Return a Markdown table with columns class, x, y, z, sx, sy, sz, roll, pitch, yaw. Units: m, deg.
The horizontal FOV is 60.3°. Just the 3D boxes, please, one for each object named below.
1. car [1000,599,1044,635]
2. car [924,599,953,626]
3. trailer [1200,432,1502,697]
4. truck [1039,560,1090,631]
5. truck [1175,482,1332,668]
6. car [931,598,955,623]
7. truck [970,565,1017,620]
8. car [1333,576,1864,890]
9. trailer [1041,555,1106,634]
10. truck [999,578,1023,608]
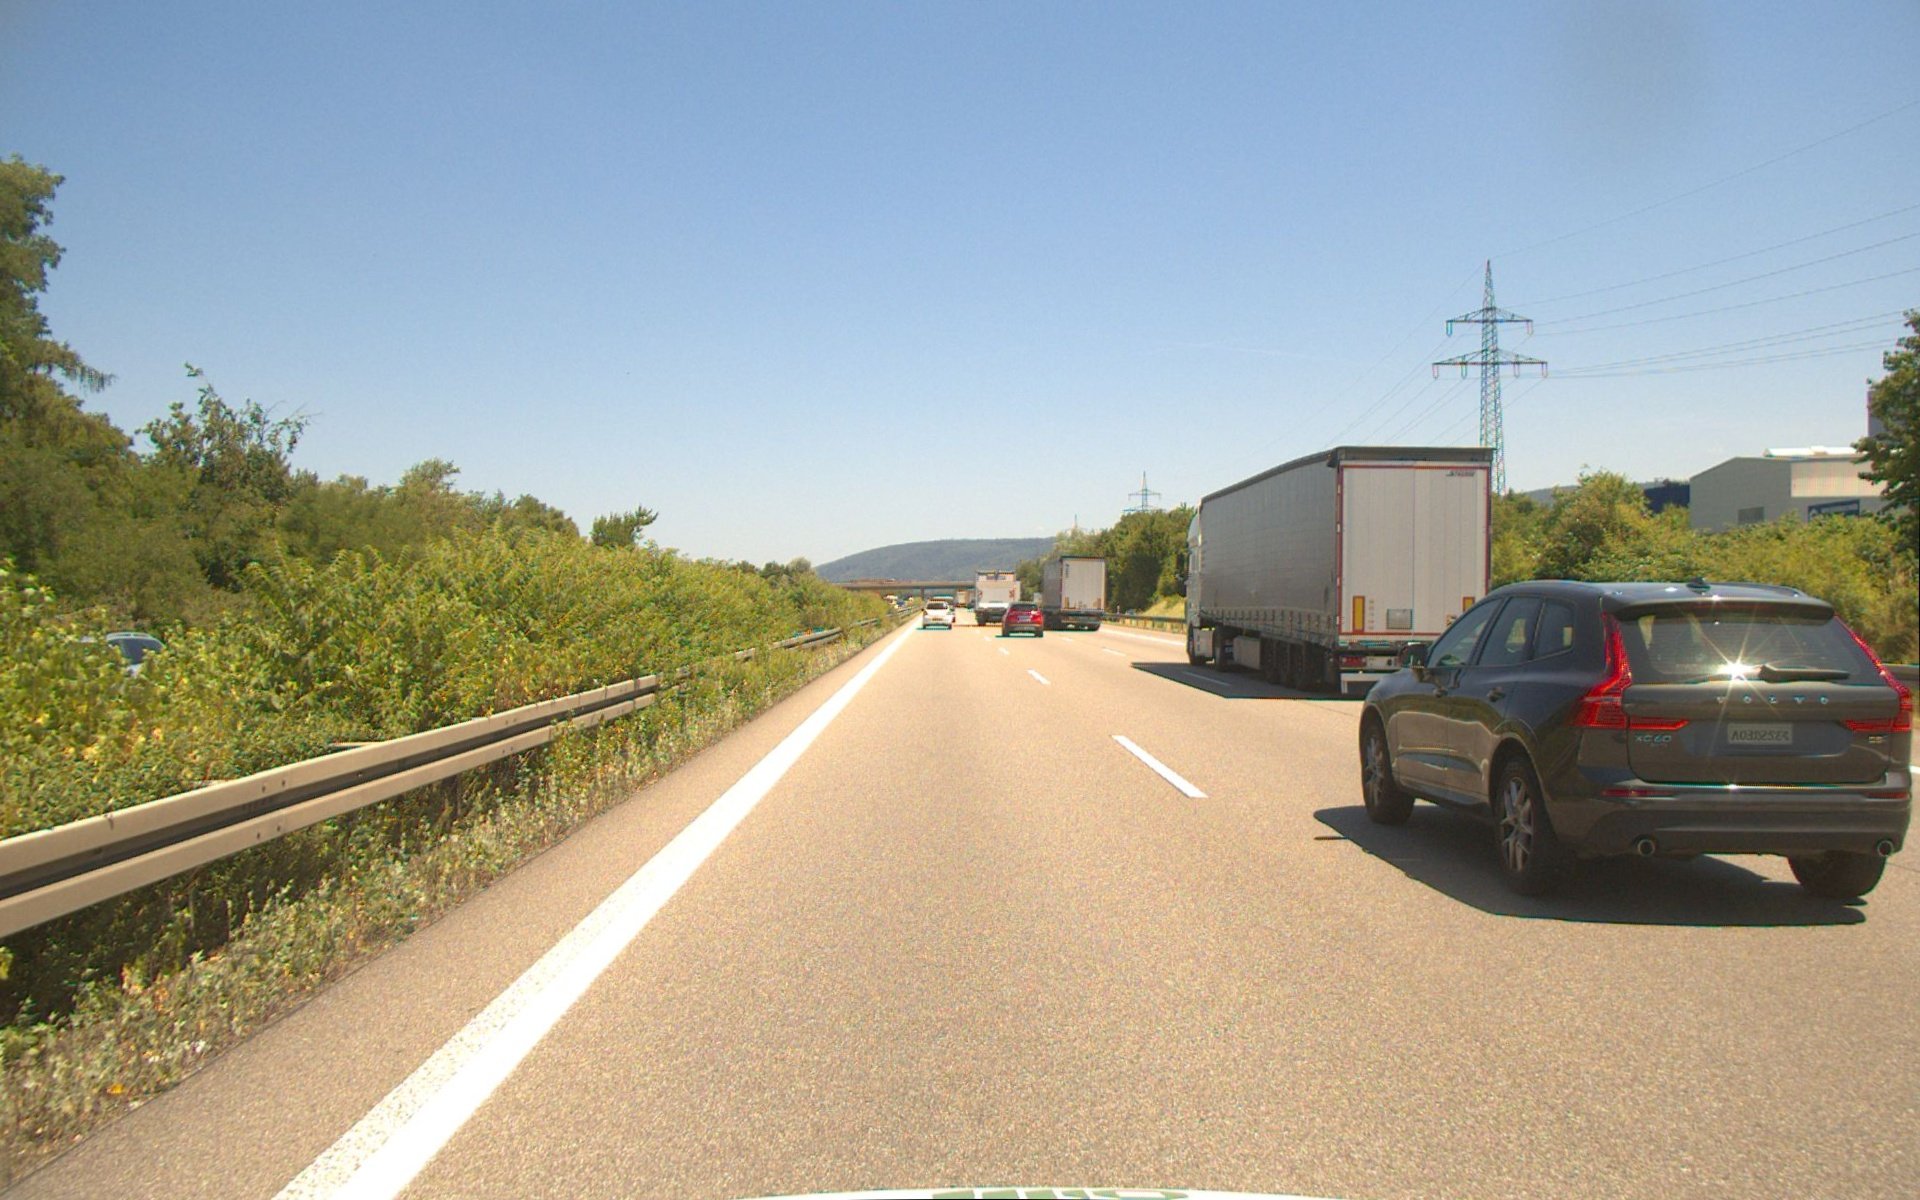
| class | x | y | z | sx | sy | sz | roll | pitch | yaw |
| --- | --- | --- | --- | --- | --- | --- | --- | --- | --- |
| car | 2.777 | 0.757 | 74.620 | 1.766 | 1.572 | 3.999 | 0 | 0 | -1 |
| car | -1.217 | 0.681 | 93.323 | 1.575 | 1.493 | 3.999 | 0 | 0 | -1 |
| trailer | 7.160 | -0.545 | 32.784 | 2.680 | 4.178 | 13.119 | 0 | 0 | -1 |
| truck | 6.492 | -0.268 | 103.400 | 2.738 | 4.237 | 5.721 | -1 | 0 | 0 |
| truck | 7.044 | -0.551 | 40.497 | 2.680 | 4.192 | 6.123 | 0 | 0 | -1 |
| car | -1.301 | 0.776 | 124.422 | 1.725 | 1.883 | 3.999 | 0 | 0 | -1 |
| truck | 2.141 | -0.437 | 108.205 | 2.726 | 3.432 | 8.125 | 0 | 0 | -1 |
| car | 3.820 | 0.702 | 10.713 | 1.835 | 1.652 | 4.003 | 0 | 0 | -1 |
| trailer | 6.538 | -0.284 | 96.896 | 2.732 | 4.237 | 13.572 | -1 | 0 | 0 |
| truck | 5.652 | -0.749 | 183.556 | 2.176 | 3.265 | 10.382 | -1 | 0 | -1 |
